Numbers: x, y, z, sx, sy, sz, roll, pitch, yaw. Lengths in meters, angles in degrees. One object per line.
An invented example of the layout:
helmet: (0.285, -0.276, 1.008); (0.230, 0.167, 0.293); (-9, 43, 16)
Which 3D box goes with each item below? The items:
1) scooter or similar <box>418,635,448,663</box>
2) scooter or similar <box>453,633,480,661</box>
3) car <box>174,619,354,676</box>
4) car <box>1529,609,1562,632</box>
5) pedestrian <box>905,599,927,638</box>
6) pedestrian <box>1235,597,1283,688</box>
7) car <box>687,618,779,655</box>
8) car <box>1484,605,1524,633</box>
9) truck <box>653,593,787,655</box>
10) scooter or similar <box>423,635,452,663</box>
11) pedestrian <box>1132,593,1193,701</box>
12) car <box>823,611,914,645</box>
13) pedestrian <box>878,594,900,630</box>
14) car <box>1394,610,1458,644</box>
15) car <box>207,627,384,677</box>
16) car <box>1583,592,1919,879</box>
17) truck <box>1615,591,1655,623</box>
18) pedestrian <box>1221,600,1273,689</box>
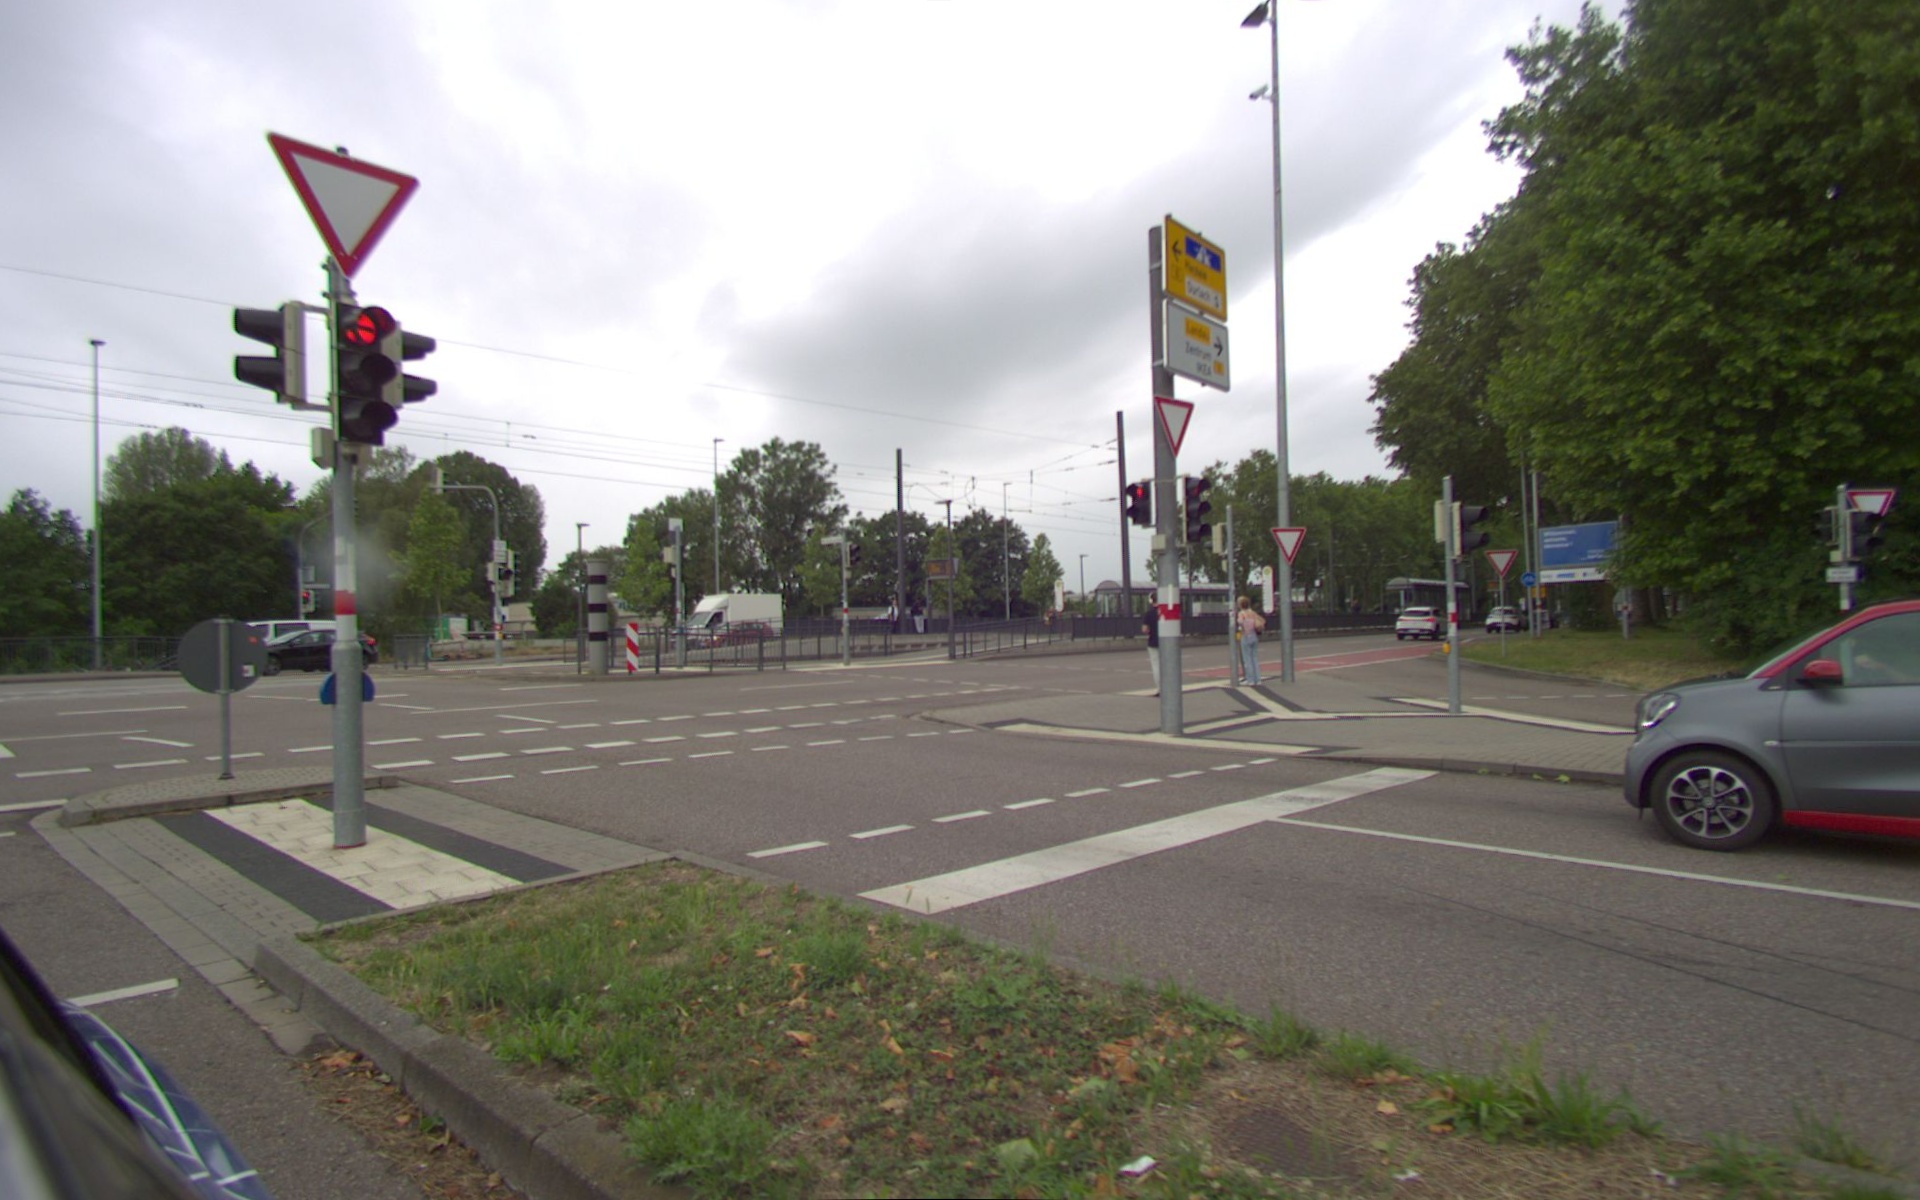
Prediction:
scooter or similar: (-24.060, 2.229, 46.221); (1.137, 1.252, 0.478); (1, -2, -44)
scooter or similar: (-23.163, 2.211, 47.522); (1.032, 1.224, 0.376); (-3, 1, -44)
car: (-25.293, 1.677, 36.943); (2.097, 1.894, 5.056); (-4, -3, 37)
car: (42.924, 1.495, 74.156); (1.632, 1.528, 3.379); (1, 1, 38)
pedestrian: (-2.050, 0.854, 47.186); (0.788, 1.755, 0.578); (-5, -3, 43)
pedestrian: (6.111, 0.849, 20.689); (0.765, 1.811, 0.667); (0, 0, 39)
car: (-11.056, 1.758, 49.491); (1.783, 1.664, 4.192); (-4, -3, 40)
car: (34.275, 1.161, 63.692); (1.793, 1.597, 4.094); (1, 1, 35)
truck: (-12.481, 1.262, 53.053); (2.825, 2.946, 6.458); (-4, -3, 39)
scooter or similar: (-24.155, 2.253, 46.796); (0.391, 1.252, 1.139); (-2, -2, 41)
pedestrian: (3.433, 0.791, 17.209); (0.653, 1.778, 0.689); (3, -1, -22)
car: (-4.269, 1.301, 47.840); (1.676, 1.419, 4.313); (-5, -3, 40)
pedestrian: (-3.179, 0.530, 45.195); (0.711, 1.572, 0.623); (-5, -3, 43)
car: (23.016, 1.290, 49.904); (1.891, 1.597, 4.353); (-1, 0, 39)
car: (-21.014, 1.616, 32.139); (1.997, 1.401, 4.287); (-4, -3, 38)
car: (5.642, 0.723, 5.904); (3.207, 1.514, 1.586); (-2, -2, 40)
truck: (82.472, 0.857, 123.538); (3.258, 3.691, 9.767); (0, 0, 39)
pedestrian: (5.718, 0.878, 20.170); (0.766, 1.725, 0.666); (-1, -1, 45)
